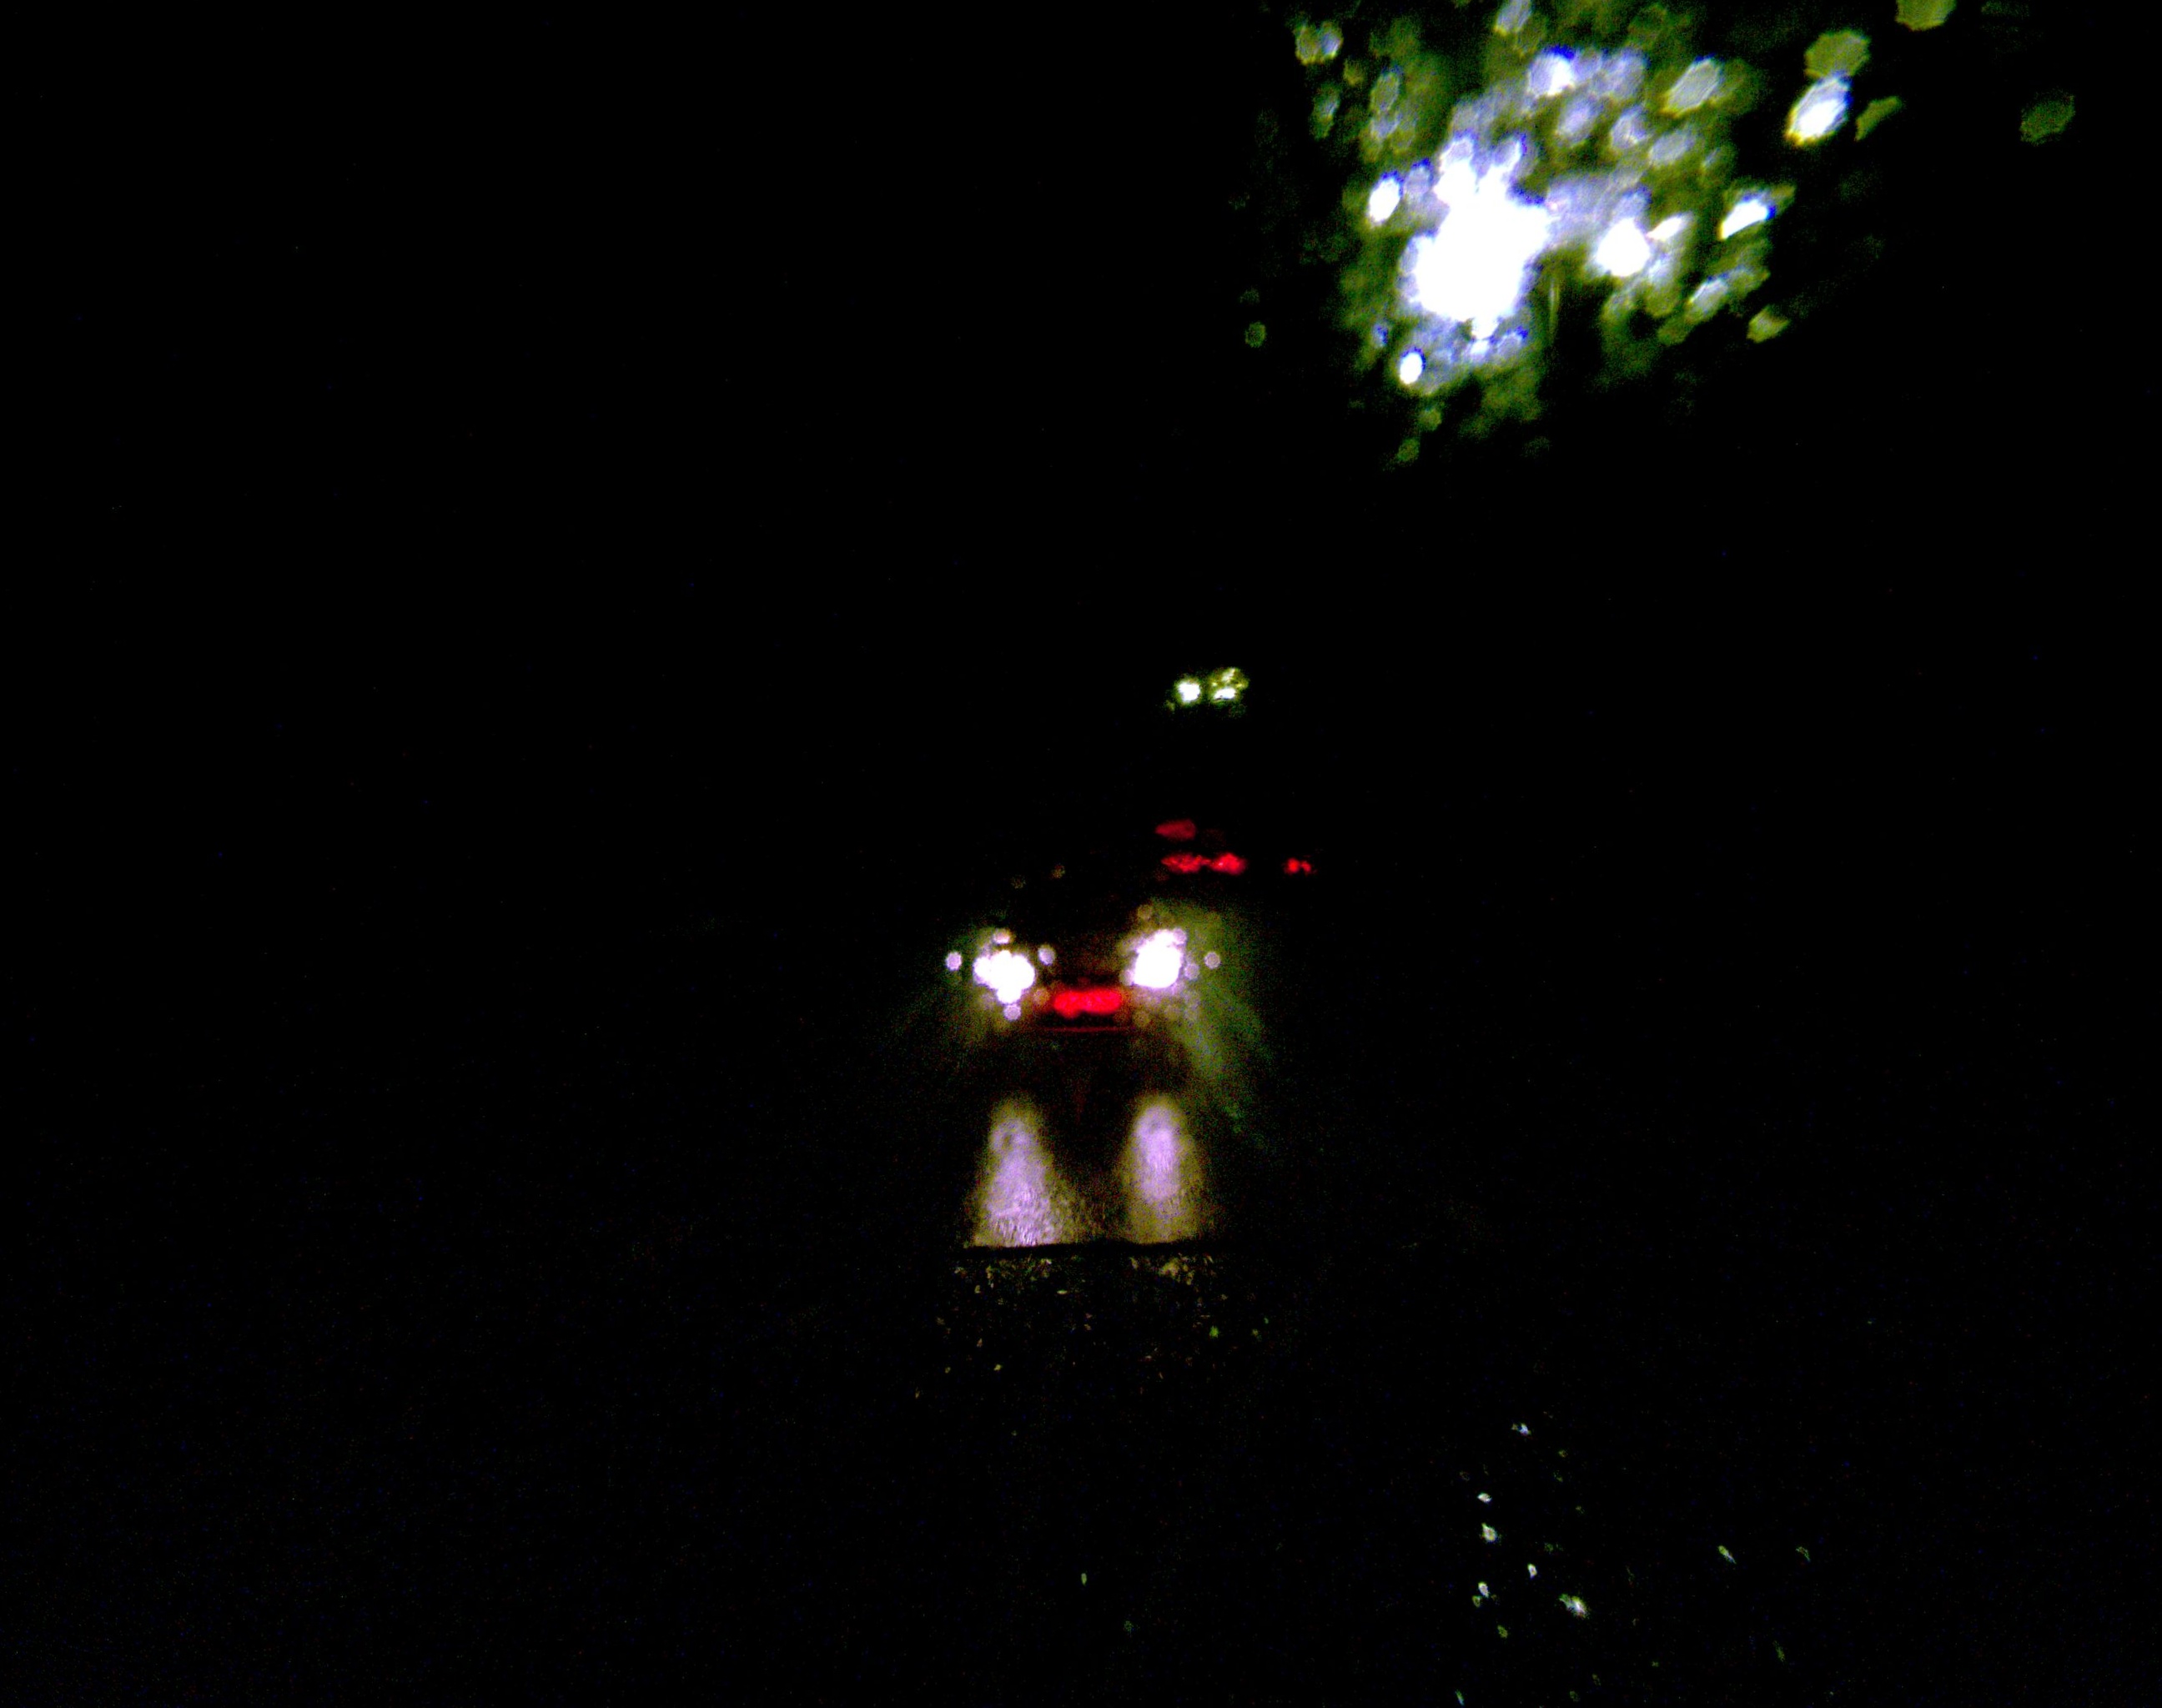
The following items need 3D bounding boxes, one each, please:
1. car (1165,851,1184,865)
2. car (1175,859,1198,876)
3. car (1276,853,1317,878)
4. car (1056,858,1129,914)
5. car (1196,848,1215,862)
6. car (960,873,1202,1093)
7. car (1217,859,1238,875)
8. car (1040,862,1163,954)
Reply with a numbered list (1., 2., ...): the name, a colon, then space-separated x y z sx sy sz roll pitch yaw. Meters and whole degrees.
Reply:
1. car: 11.669 0.491 95.336 1.788 1.637 3.999 -2 0 -1
2. car: 11.081 1.369 79.984 1.788 1.637 4.000 -2 0 0
3. car: 15.253 0.807 54.062 1.866 1.637 4.000 -2 0 2
4. car: 0.355 0.896 23.046 1.998 1.531 4.000 -1 0 1
5. car: 17.953 0.151 109.853 1.998 2.002 4.000 -2 0 1
6. car: 0.023 1.018 7.672 1.764 1.492 4.000 -2 0 1
7. car: 16.900 1.477 87.780 1.817 1.637 4.000 -2 0 2
8. car: 0.368 0.914 14.506 1.998 1.455 4.000 -1 0 1
